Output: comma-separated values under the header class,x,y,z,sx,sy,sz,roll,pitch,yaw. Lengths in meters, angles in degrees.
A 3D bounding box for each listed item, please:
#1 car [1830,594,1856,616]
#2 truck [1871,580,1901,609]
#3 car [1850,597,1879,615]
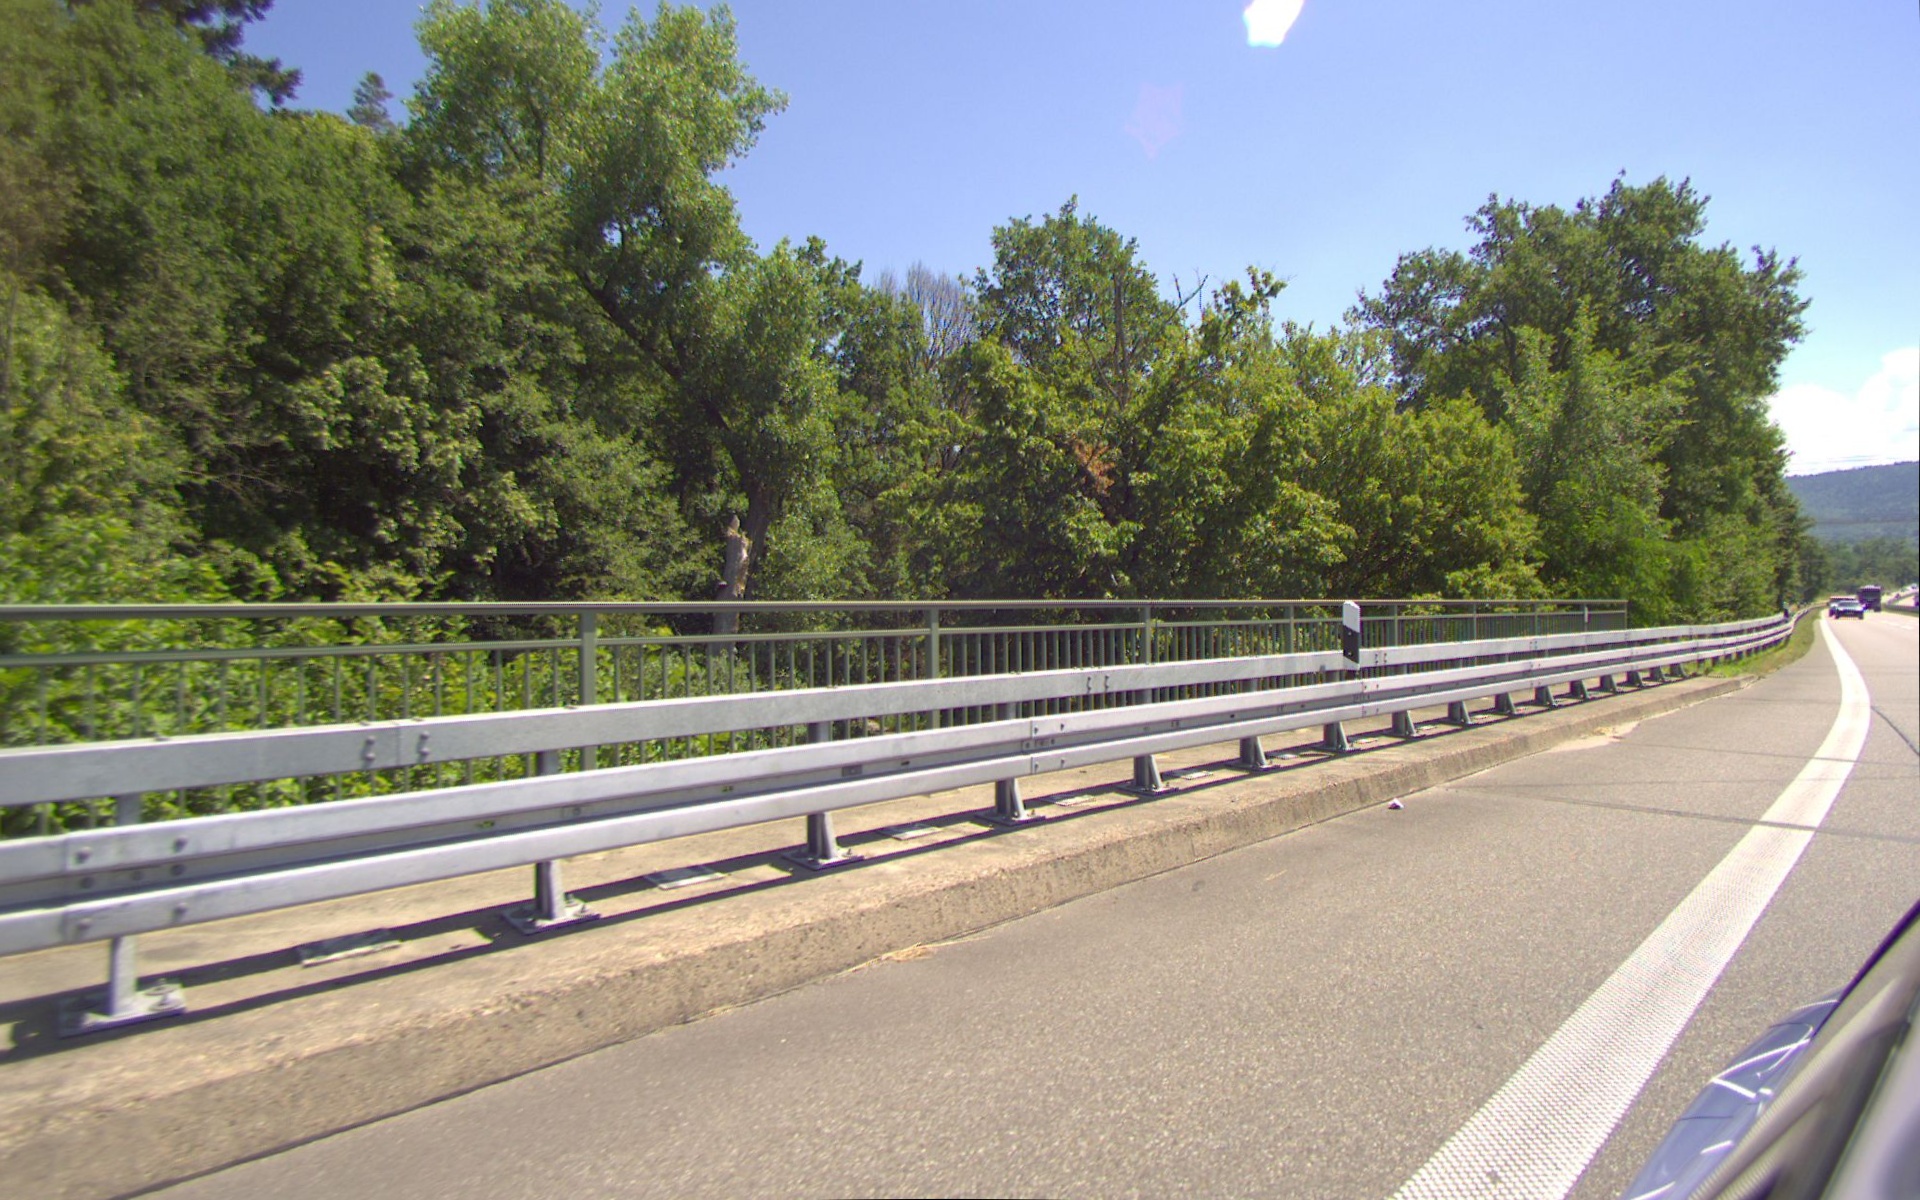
class,x,y,z,sx,sy,sz,roll,pitch,yaw
car,85.007,0.457,97.438,3.428,2.124,1.617,-1,1,-45
truck,135.582,-0.841,148.104,9.786,4.219,2.821,-1,1,-45
car,75.245,0.476,84.190,3.428,1.412,1.574,-1,1,-45
